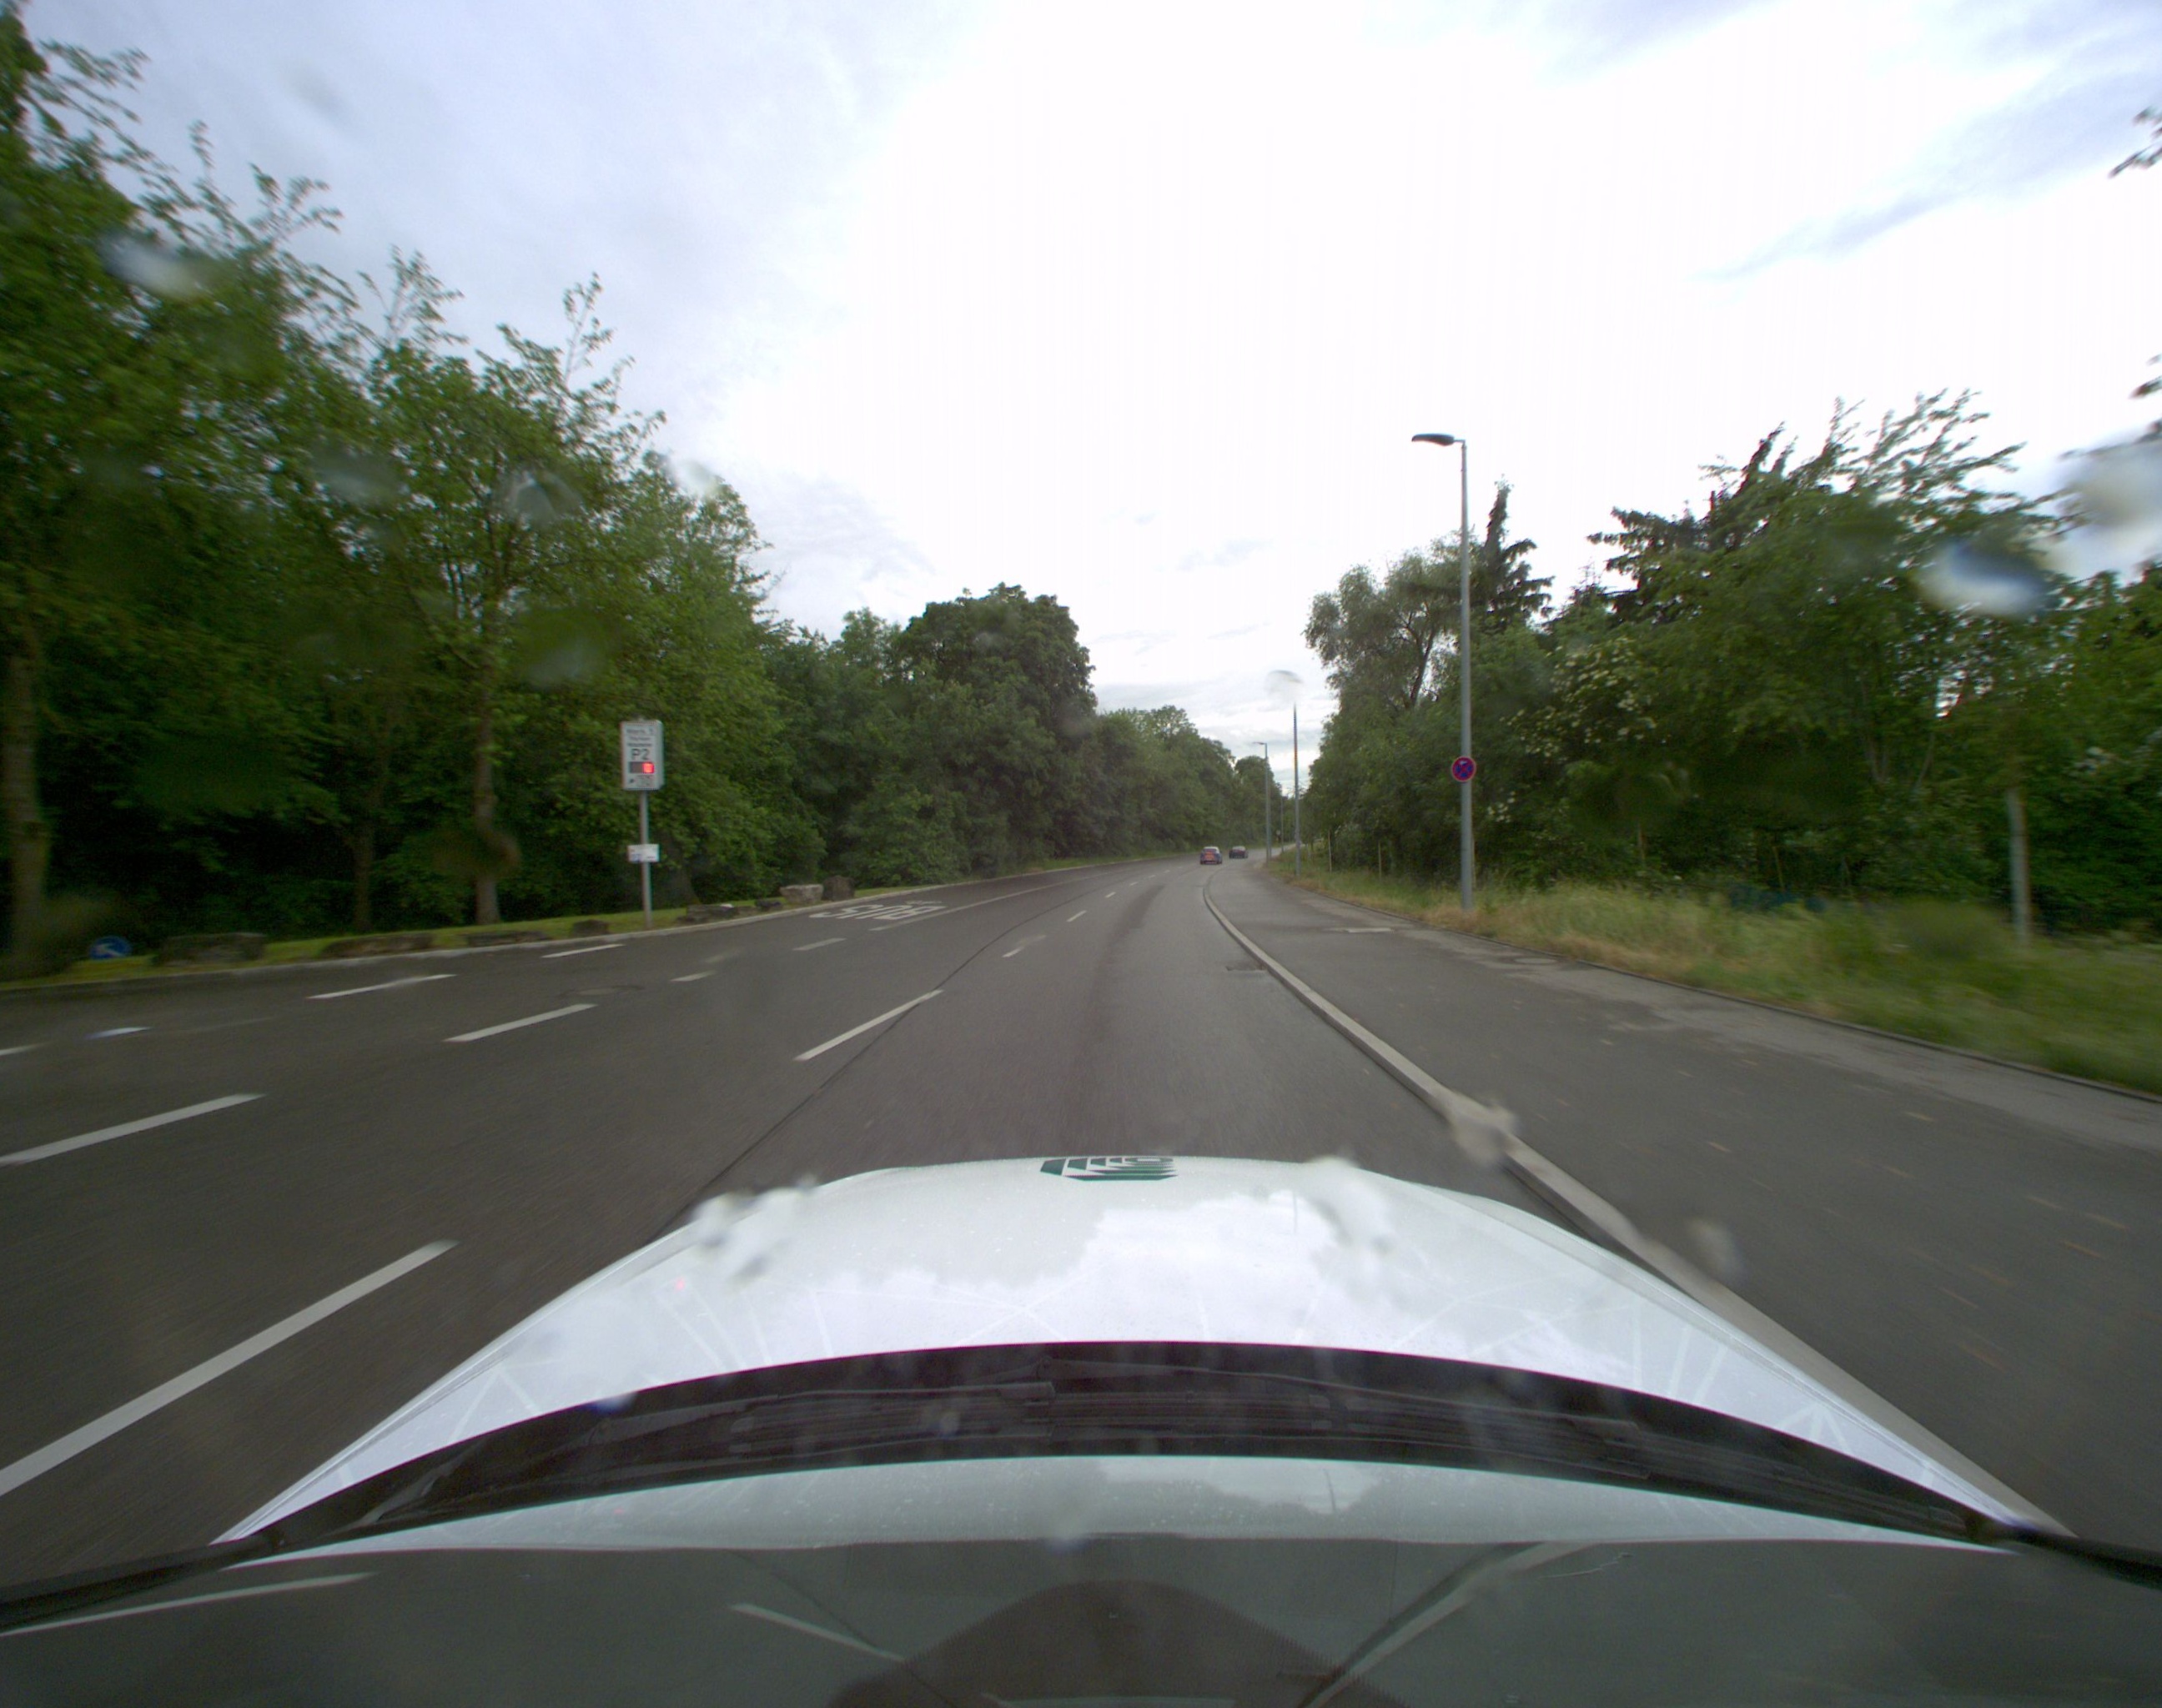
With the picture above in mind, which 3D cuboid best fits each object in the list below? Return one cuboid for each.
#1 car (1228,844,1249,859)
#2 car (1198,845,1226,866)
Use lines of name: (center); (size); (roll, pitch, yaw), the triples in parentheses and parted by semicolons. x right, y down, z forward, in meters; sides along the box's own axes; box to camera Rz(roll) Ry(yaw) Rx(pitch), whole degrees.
car: (18.502, -0.318, 95.358); (1.911, 1.486, 3.818); (-2, 2, 18)
car: (11.967, 0.132, 74.168); (1.979, 1.689, 4.017); (-2, 2, 15)
